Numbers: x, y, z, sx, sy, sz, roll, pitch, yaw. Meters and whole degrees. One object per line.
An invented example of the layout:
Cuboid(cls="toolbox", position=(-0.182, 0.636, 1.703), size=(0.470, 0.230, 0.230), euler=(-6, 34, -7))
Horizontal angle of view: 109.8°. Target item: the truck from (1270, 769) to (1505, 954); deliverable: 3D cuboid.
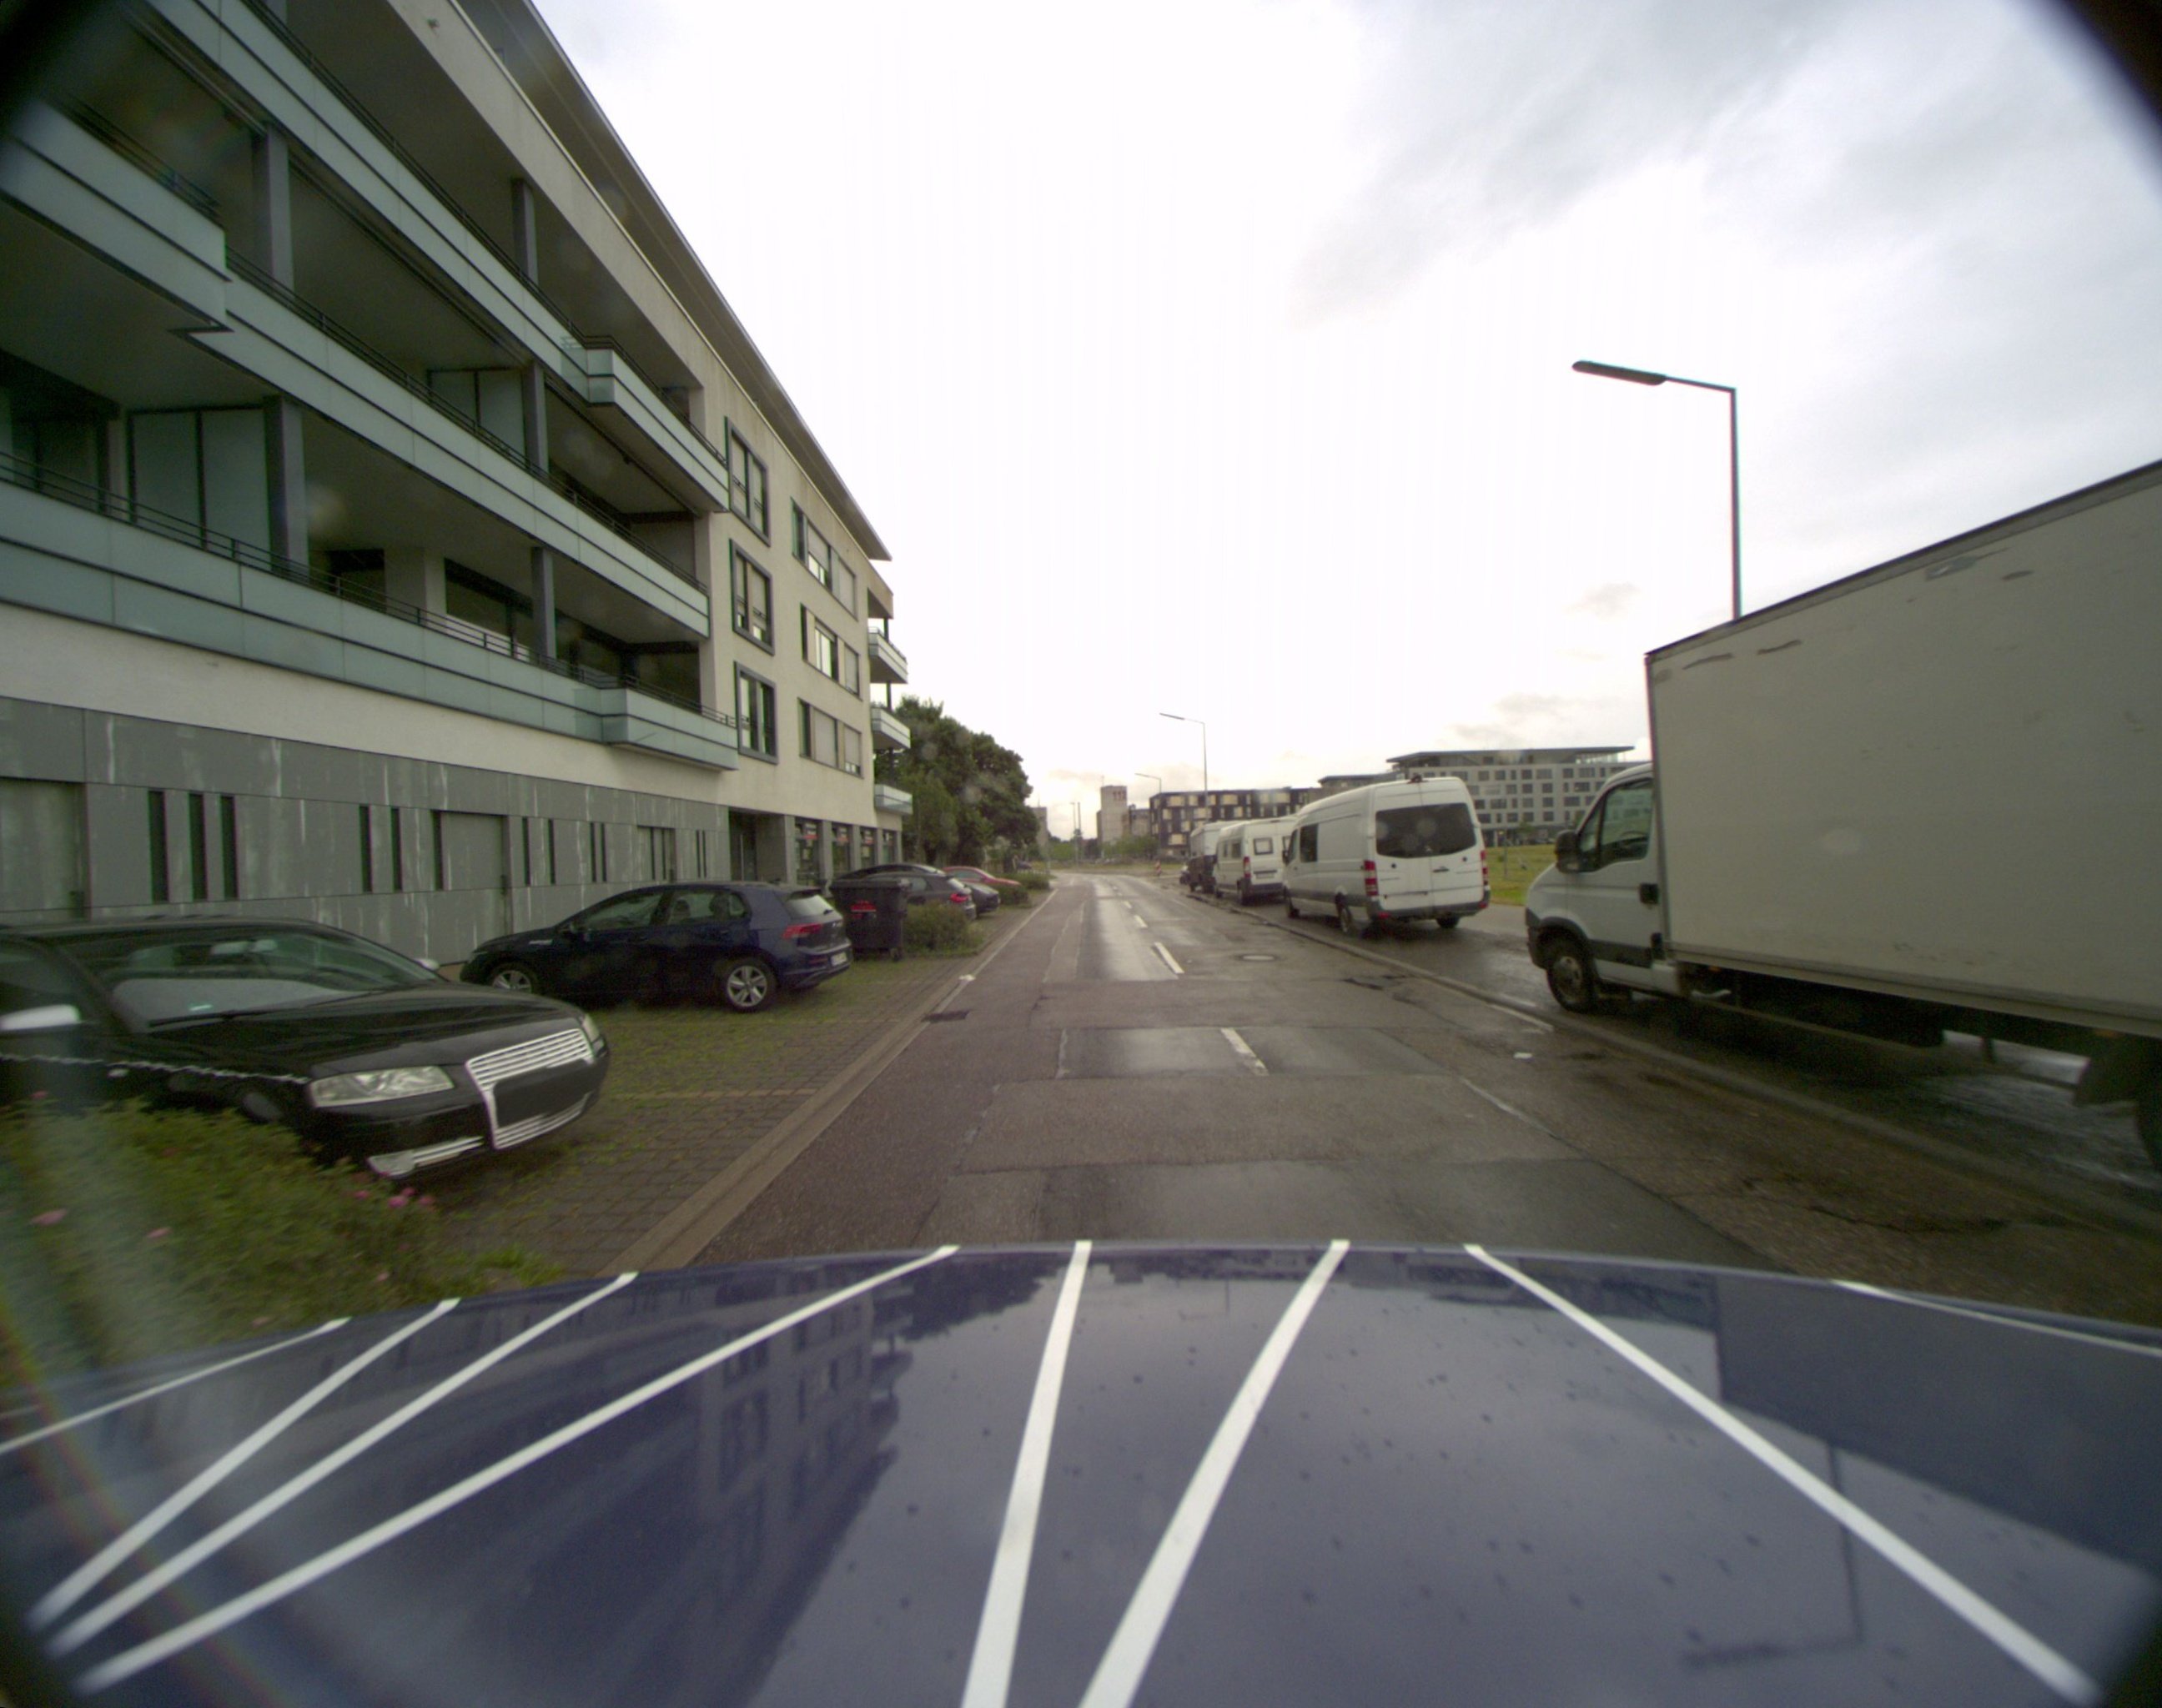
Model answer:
Cuboid(cls="truck", position=(5.628, 0.123, 15.254), size=(2.046, 2.750, 6.738), euler=(-4, 0, 2))

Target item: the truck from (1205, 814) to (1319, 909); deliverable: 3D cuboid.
Cuboid(cls="truck", position=(5.630, 0.216, 24.555), size=(2.180, 2.591, 6.132), euler=(-3, 0, 1))

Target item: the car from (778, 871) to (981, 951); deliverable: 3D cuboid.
Cuboid(cls="car", position=(-4.383, 1.232, 16.988), size=(3.997, 1.478, 1.787), euler=(-3, 0, 0))

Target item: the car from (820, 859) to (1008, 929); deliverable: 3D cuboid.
Cuboid(cls="car", position=(-4.577, 1.089, 21.389), size=(4.796, 1.654, 1.867), euler=(-3, 0, 0))

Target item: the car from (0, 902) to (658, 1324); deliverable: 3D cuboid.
Cuboid(cls="car", position=(-4.721, 1.149, 3.969), size=(3.996, 1.523, 1.778), euler=(-2, 0, 4))

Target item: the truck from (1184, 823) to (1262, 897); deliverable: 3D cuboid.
Cuboid(cls="truck", position=(5.786, 0.248, 31.708), size=(2.180, 2.730, 5.290), euler=(-3, 0, 1))

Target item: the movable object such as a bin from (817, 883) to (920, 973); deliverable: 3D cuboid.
Cuboid(cls="movable object such as a bin", position=(-3.510, 1.210, 12.660), size=(1.352, 1.329, 0.977), euler=(-4, 0, 0))

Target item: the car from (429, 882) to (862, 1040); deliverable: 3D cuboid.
Cuboid(cls="car", position=(-4.944, 1.187, 9.050), size=(4.100, 1.469, 1.711), euler=(-3, 0, 0))

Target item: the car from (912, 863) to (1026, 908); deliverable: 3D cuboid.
Cuboid(cls="car", position=(-4.224, 1.192, 29.053), size=(3.997, 1.478, 1.787), euler=(-3, 0, 0))

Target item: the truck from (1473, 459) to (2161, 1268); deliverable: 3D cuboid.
Cuboid(cls="truck", position=(5.294, -0.006, 4.393), size=(2.442, 3.050, 6.700), euler=(-4, 0, 0))
